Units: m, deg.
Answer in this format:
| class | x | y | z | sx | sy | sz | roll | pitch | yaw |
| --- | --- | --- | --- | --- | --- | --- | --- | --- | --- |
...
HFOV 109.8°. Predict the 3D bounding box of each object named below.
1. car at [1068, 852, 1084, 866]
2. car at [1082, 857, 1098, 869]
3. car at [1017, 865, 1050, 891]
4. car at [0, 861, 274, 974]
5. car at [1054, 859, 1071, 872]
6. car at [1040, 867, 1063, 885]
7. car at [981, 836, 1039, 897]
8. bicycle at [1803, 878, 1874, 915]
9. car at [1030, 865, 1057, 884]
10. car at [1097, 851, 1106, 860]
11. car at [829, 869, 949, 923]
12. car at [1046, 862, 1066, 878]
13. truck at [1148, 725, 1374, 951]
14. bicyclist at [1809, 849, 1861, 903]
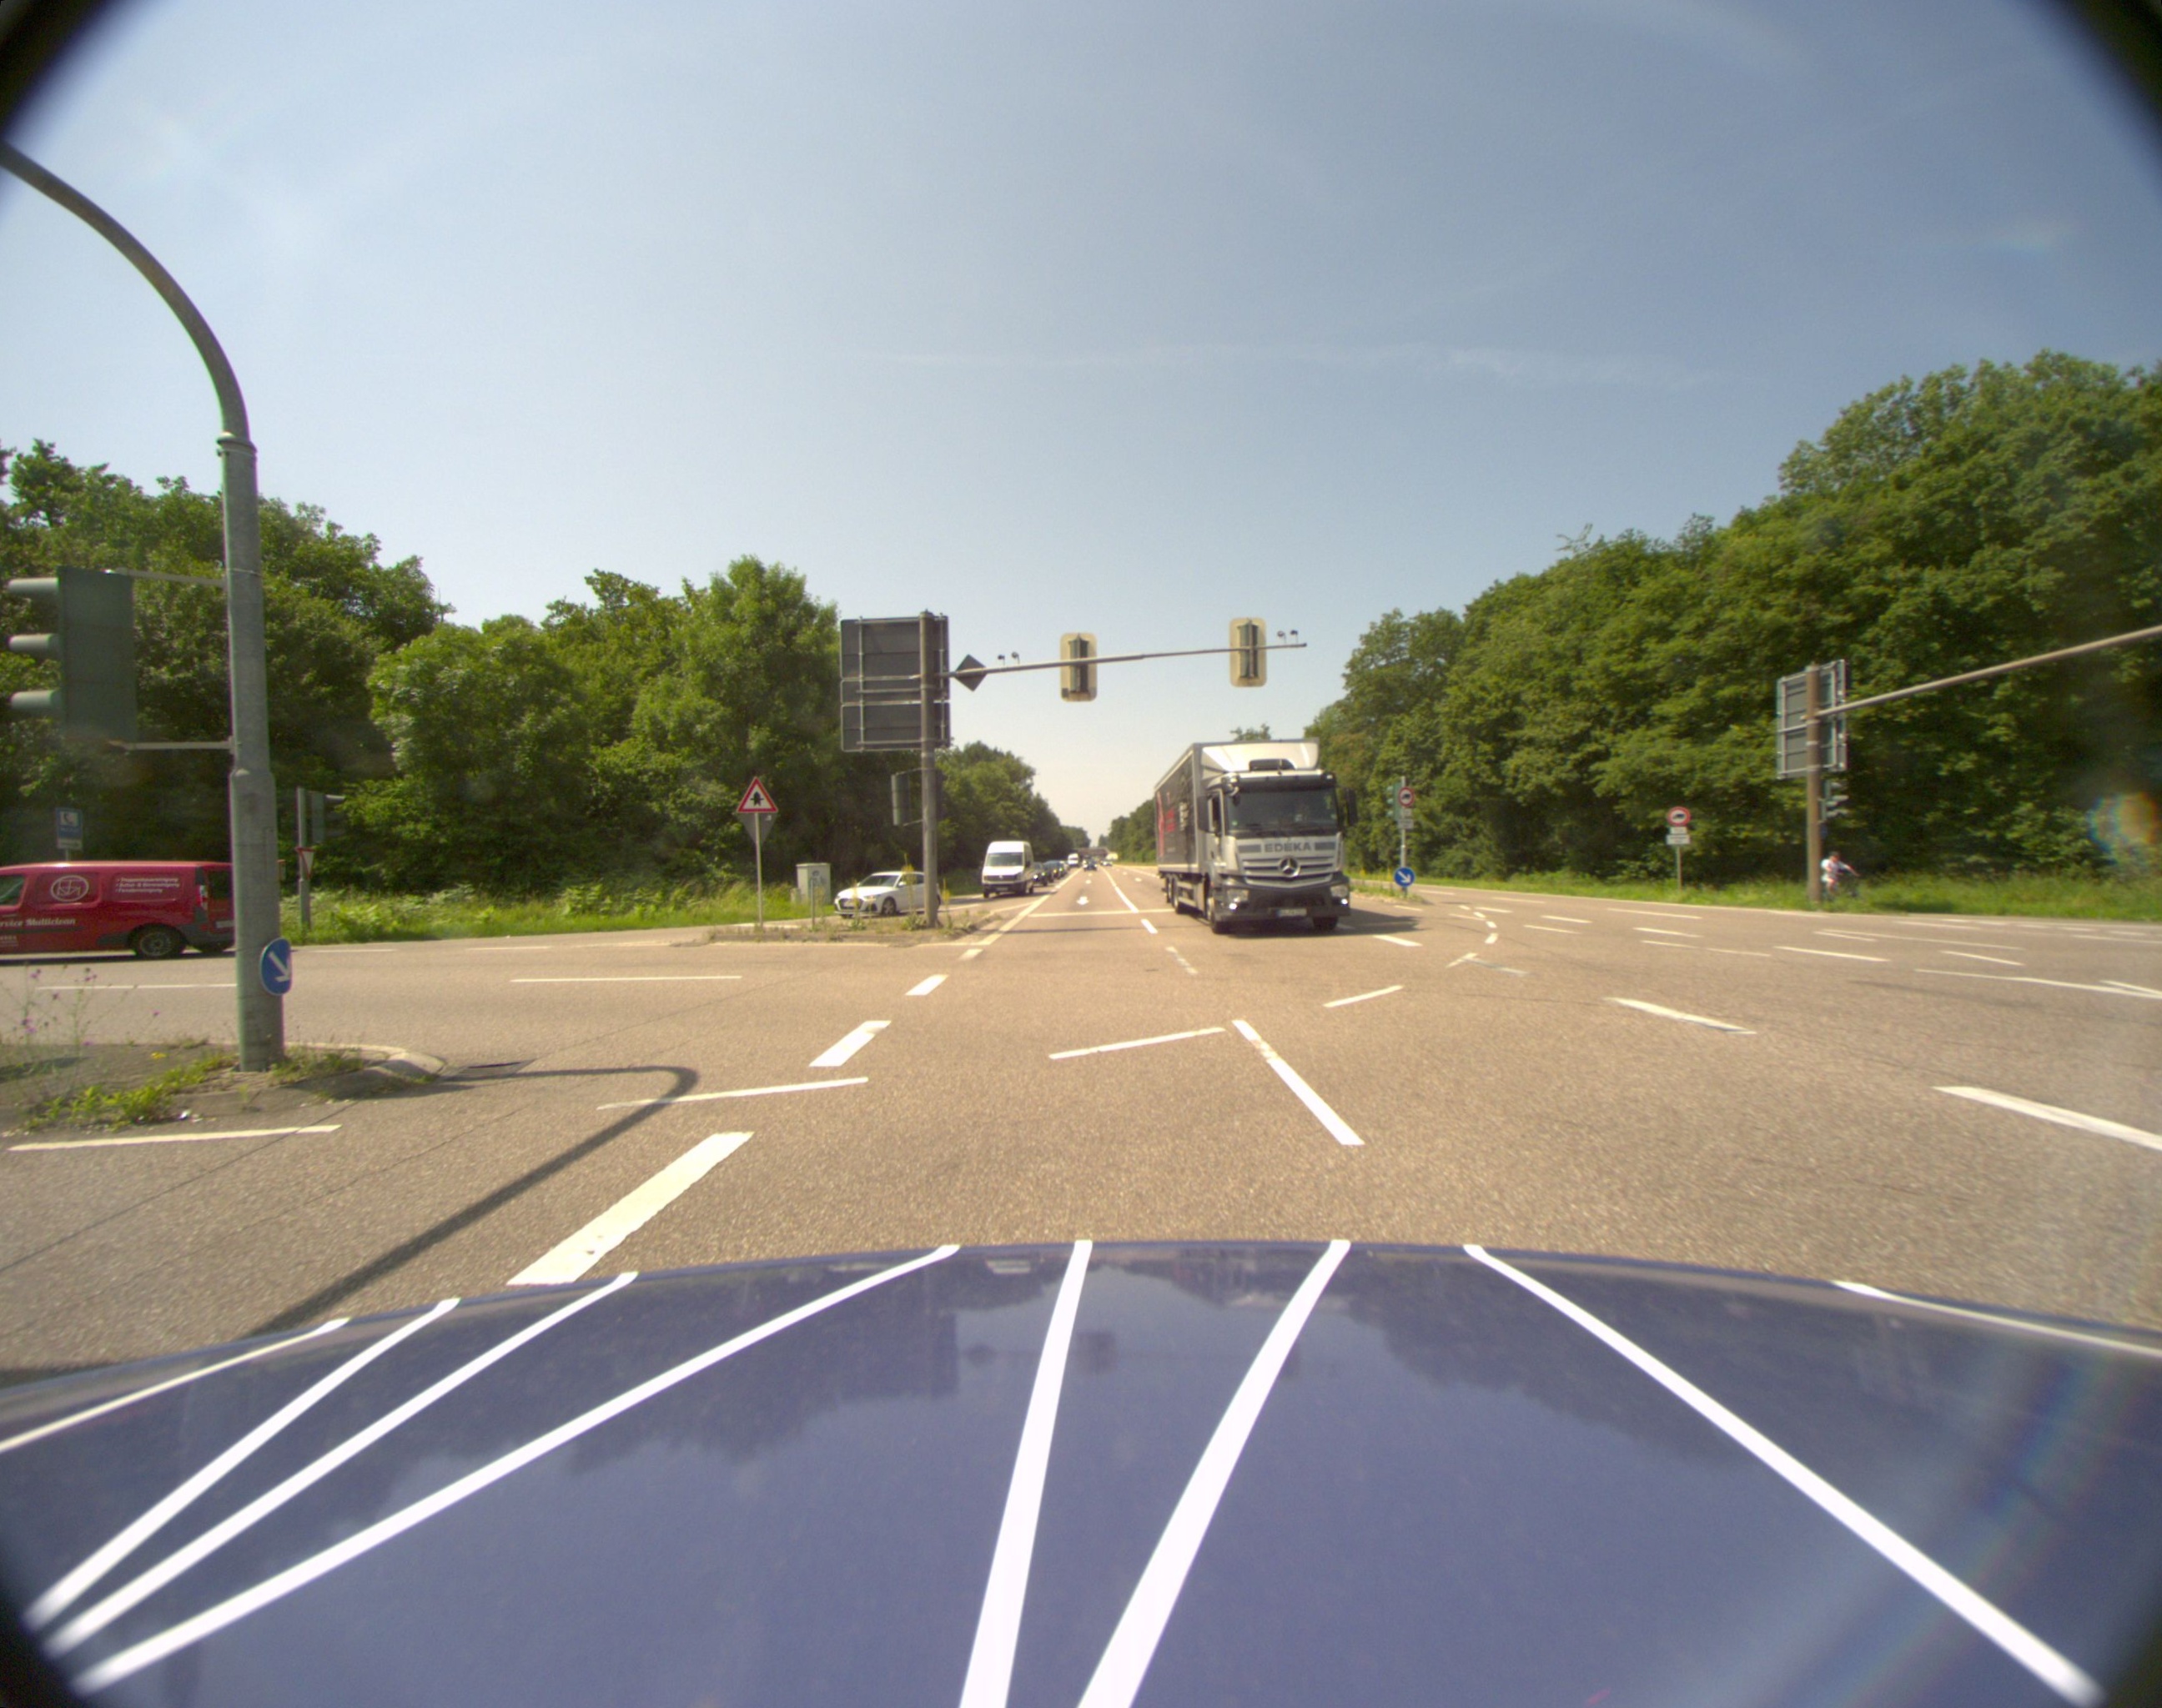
| class | x | y | z | sx | sy | sz | roll | pitch | yaw |
| --- | --- | --- | --- | --- | --- | --- | --- | --- | --- |
| car | -0.988 | 0.926 | 146.346 | 2.673 | 2.685 | 6.331 | -1 | 0 | 3 |
| car | 1.191 | 1.230 | 103.207 | 1.992 | 1.574 | 4.364 | -1 | 0 | 0 |
| car | -3.004 | 1.508 | 48.869 | 1.796 | 1.451 | 4.229 | -2 | 0 | 0 |
| car | -18.073 | 1.114 | 13.656 | 4.502 | 1.811 | 1.794 | -2 | -1 | -25 |
| car | -2.109 | 1.284 | 86.995 | 1.796 | 1.431 | 4.228 | -1 | 0 | 0 |
| car | -2.488 | 1.854 | 65.450 | 1.796 | 1.431 | 4.228 | -1 | 0 | 0 |
| car | -3.368 | 0.583 | 37.080 | 1.974 | 2.629 | 6.061 | -2 | -1 | 2 |
| bicycle | 20.606 | 1.136 | 20.712 | 0.566 | 0.918 | 1.606 | -1 | 0 | 10 |
| car | -2.798 | 1.504 | 57.036 | 1.796 | 1.348 | 4.228 | -1 | 0 | 0 |
| car | 4.641 | 0.361 | 173.824 | 1.998 | 1.867 | 4.000 | -1 | 0 | 1 |
| car | -6.107 | 1.299 | 24.681 | 1.691 | 1.427 | 4.006 | -3 | 0 | 21 |
| car | -2.377 | 1.537 | 72.509 | 1.796 | 1.431 | 4.228 | -1 | 0 | 0 |
| truck | 3.663 | -0.252 | 18.988 | 2.753 | 3.862 | 11.320 | -2 | 0 | 0 |
| bicyclist | 20.604 | 0.588 | 20.781 | 0.660 | 1.456 | 0.810 | -1 | 0 | 10 |
